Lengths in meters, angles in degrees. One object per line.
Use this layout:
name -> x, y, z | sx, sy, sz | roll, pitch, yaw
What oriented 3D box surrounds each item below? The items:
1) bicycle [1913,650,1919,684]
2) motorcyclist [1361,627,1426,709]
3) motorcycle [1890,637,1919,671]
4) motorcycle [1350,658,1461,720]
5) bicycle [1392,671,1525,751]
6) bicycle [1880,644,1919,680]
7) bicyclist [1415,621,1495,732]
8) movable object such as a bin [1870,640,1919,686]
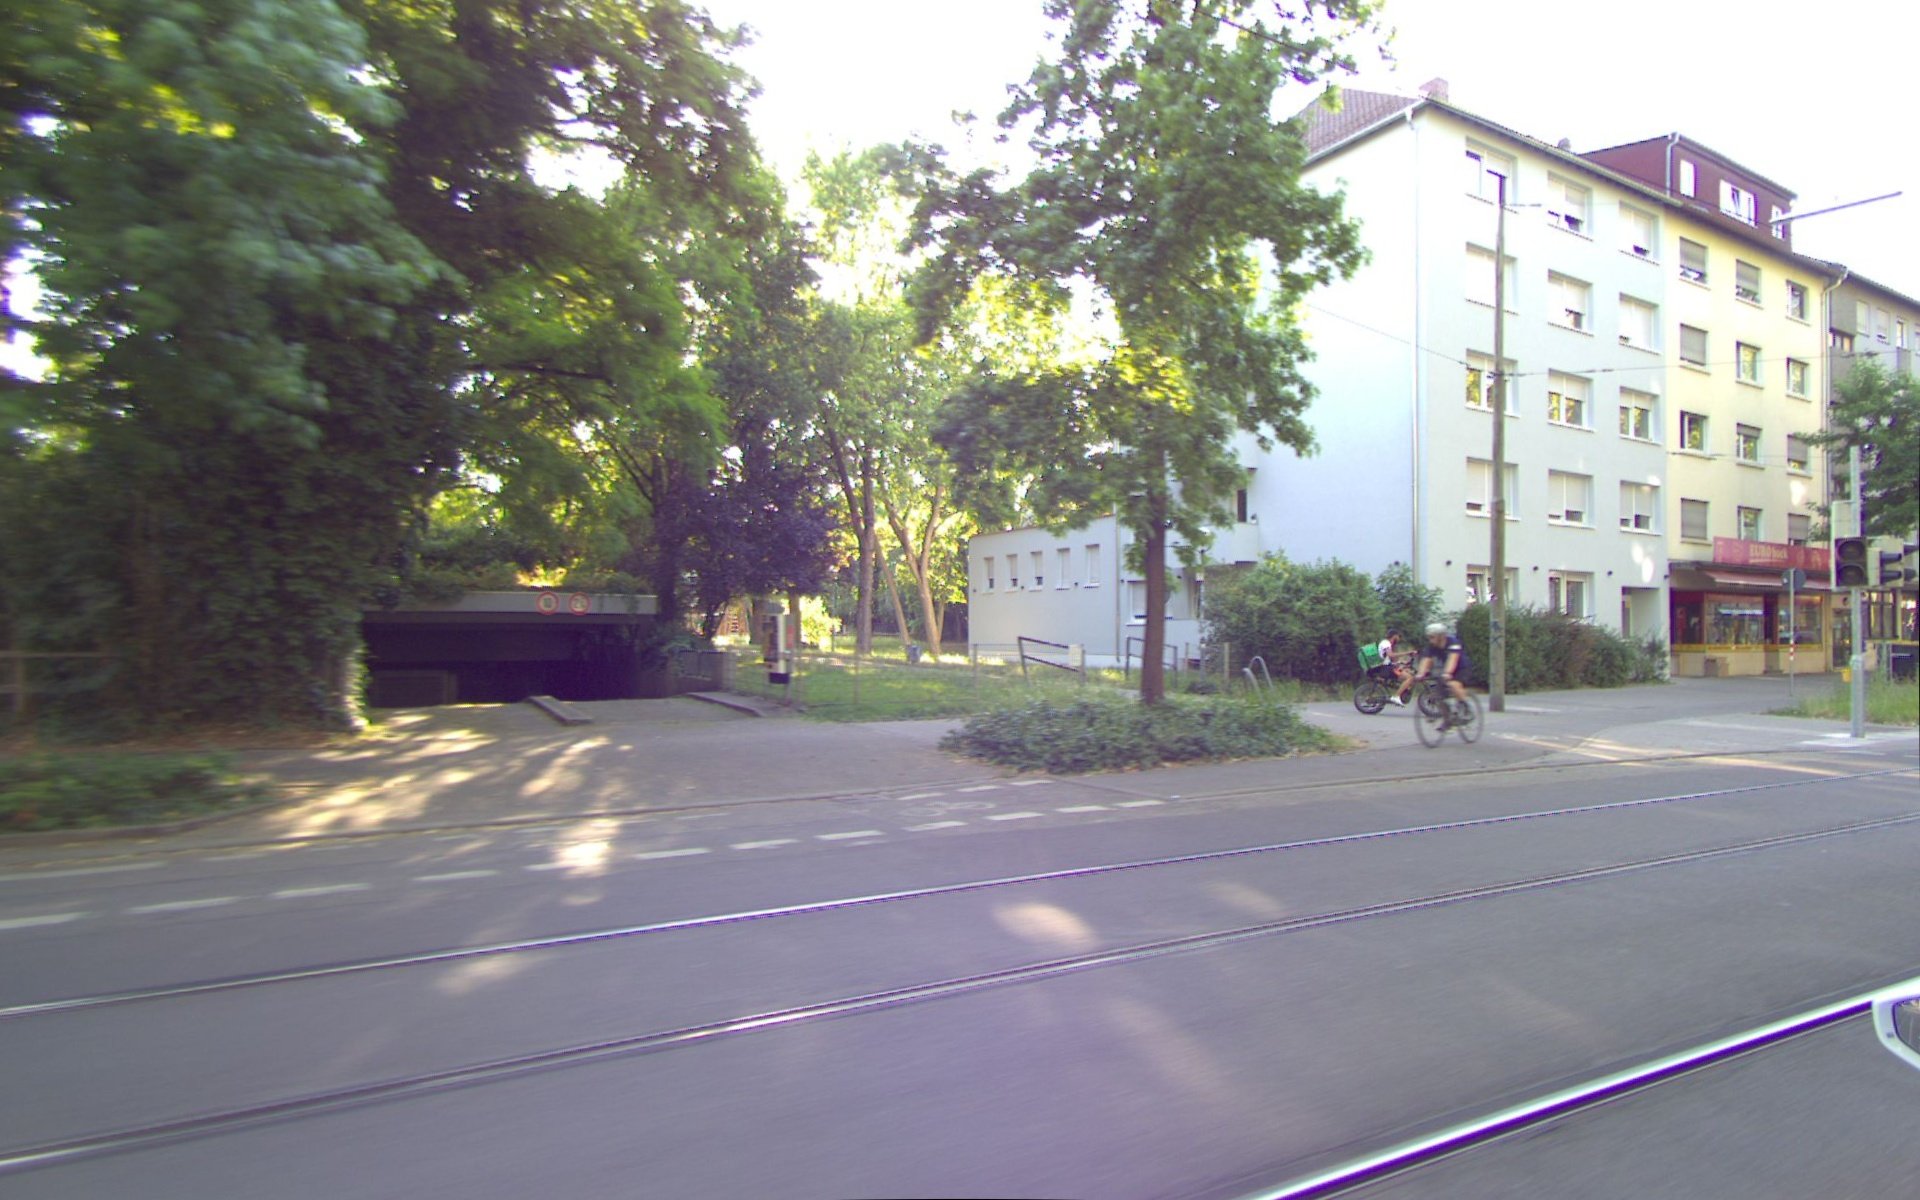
bicycle -> 31.724, 2.185, 32.192 | 0.875, 1.089, 1.526 | 1, 1, -30
motorcyclist -> 8.009, 1.234, 18.560 | 1.083, 1.468, 0.597 | 0, -2, 25
motorcycle -> 38.456, 2.180, 40.645 | 2.196, 1.328, 0.596 | 1, -2, -30
motorcycle -> 8.177, 1.622, 18.479 | 1.842, 1.046, 0.597 | 0, -2, 25
bicycle -> 6.933, 1.505, 13.935 | 2.077, 1.000, 0.638 | 1, -2, -31
bicycle -> 30.665, 2.008, 32.745 | 1.781, 1.122, 0.495 | 2, 2, -33
bicyclist -> 6.852, 1.042, 13.912 | 0.827, 1.474, 0.638 | 1, -2, -31
movable object such as a bin -> 29.648, 1.977, 31.725 | 0.775, 1.366, 1.162 | 1, 2, -34
